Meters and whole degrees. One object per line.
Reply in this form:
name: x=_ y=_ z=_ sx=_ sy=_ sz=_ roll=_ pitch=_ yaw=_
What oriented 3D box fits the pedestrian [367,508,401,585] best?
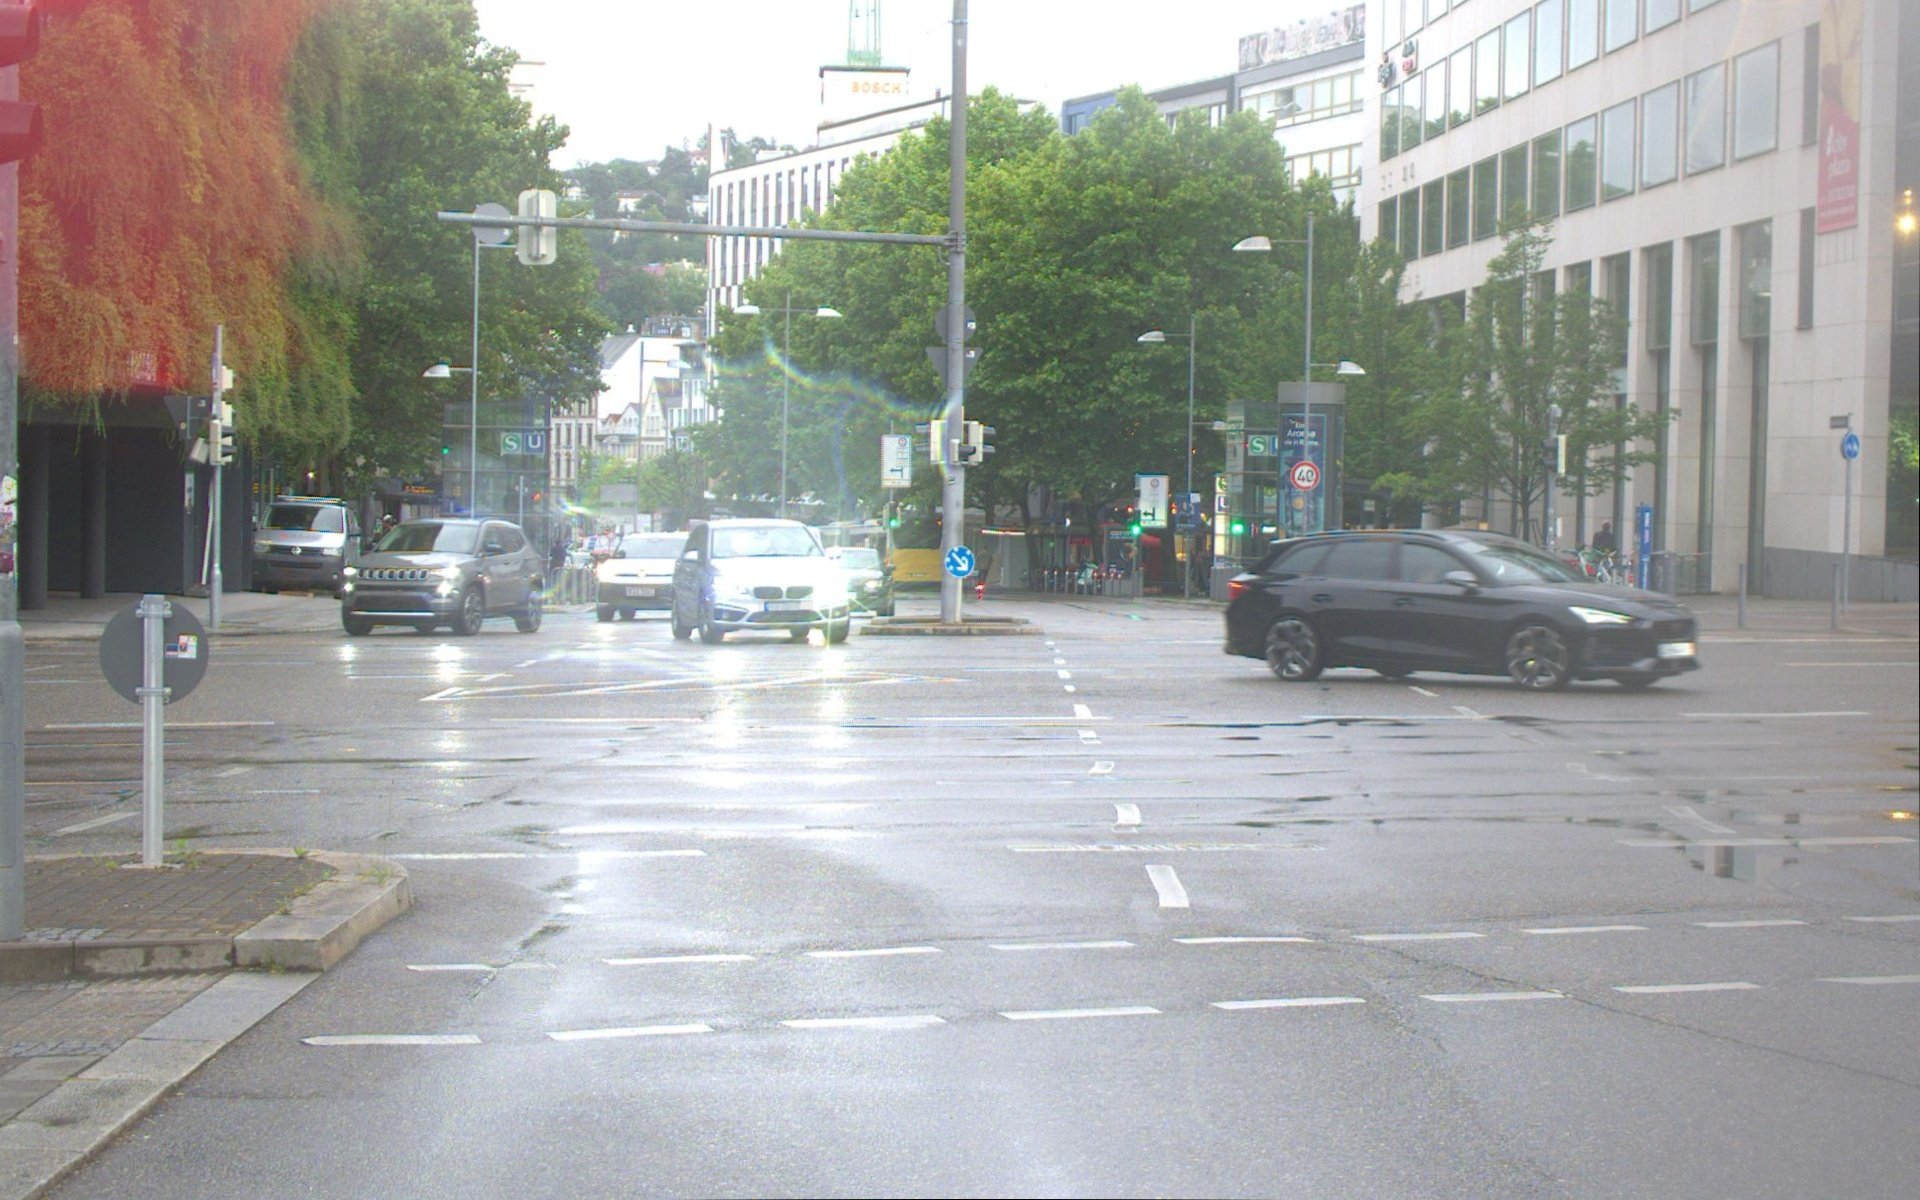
pedestrian: x=-11.364 y=-1.056 z=67.831 sx=0.607 sy=1.519 sz=0.588 roll=0 pitch=1 yaw=-5

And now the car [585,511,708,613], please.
car: x=-5.877 y=-0.732 z=64.020 sx=2.174 sy=1.817 sz=4.645 roll=0 pitch=1 yaw=-6

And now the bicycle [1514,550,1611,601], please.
bicycle: x=11.247 y=-0.465 z=64.221 sx=1.799 sy=0.931 sz=0.474 roll=1 pitch=1 yaw=41

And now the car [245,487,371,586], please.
car: x=-12.912 y=-1.259 z=68.302 sx=1.993 sy=1.888 sz=4.466 roll=0 pitch=1 yaw=-5

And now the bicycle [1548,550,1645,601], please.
bicycle: x=12.011 y=-0.474 z=64.863 sx=1.799 sy=0.931 sz=0.474 roll=1 pitch=1 yaw=41

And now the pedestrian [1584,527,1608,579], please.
pedestrian: x=14.419 y=-1.062 z=77.939 sx=0.353 sy=1.169 sz=0.414 roll=-1 pitch=1 yaw=-45

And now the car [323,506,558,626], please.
car: x=-7.194 y=-0.501 z=48.079 sx=1.994 sy=1.592 sz=4.463 roll=1 pitch=1 yaw=9

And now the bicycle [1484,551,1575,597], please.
bicycle: x=11.736 y=-0.535 z=70.902 sx=1.794 sy=0.931 sz=0.475 roll=0 pitch=1 yaw=3

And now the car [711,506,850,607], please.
car: x=-2.902 y=-0.742 z=56.486 sx=1.993 sy=1.524 sz=4.556 roll=0 pitch=2 yaw=0

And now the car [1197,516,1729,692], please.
car: x=4.500 y=-0.020 z=31.318 sx=1.857 sy=1.443 sz=4.618 roll=-1 pitch=2 yaw=-44

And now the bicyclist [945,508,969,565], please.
bicyclist: x=-0.099 y=-2.231 z=120.171 sx=0.791 sy=1.968 sz=1.114 roll=0 pitch=1 yaw=-2

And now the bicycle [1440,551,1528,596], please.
bicycle: x=11.085 y=-0.566 z=72.750 sx=1.794 sy=0.931 sz=0.475 roll=0 pitch=1 yaw=3

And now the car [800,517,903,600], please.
car: x=-2.193 y=-0.854 z=69.078 sx=1.993 sy=1.524 sz=4.557 roll=0 pitch=2 yaw=-2

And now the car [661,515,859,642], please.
car: x=-2.605 y=-0.318 z=43.767 sx=1.993 sy=1.438 sz=4.557 roll=-1 pitch=2 yaw=-10

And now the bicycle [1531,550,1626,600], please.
bicycle: x=11.837 y=-0.489 z=65.829 sx=1.799 sy=0.931 sz=0.474 roll=1 pitch=1 yaw=41

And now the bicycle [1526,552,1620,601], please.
bicycle: x=11.866 y=-0.462 z=66.574 sx=1.799 sy=0.931 sz=0.474 roll=1 pitch=1 yaw=41
